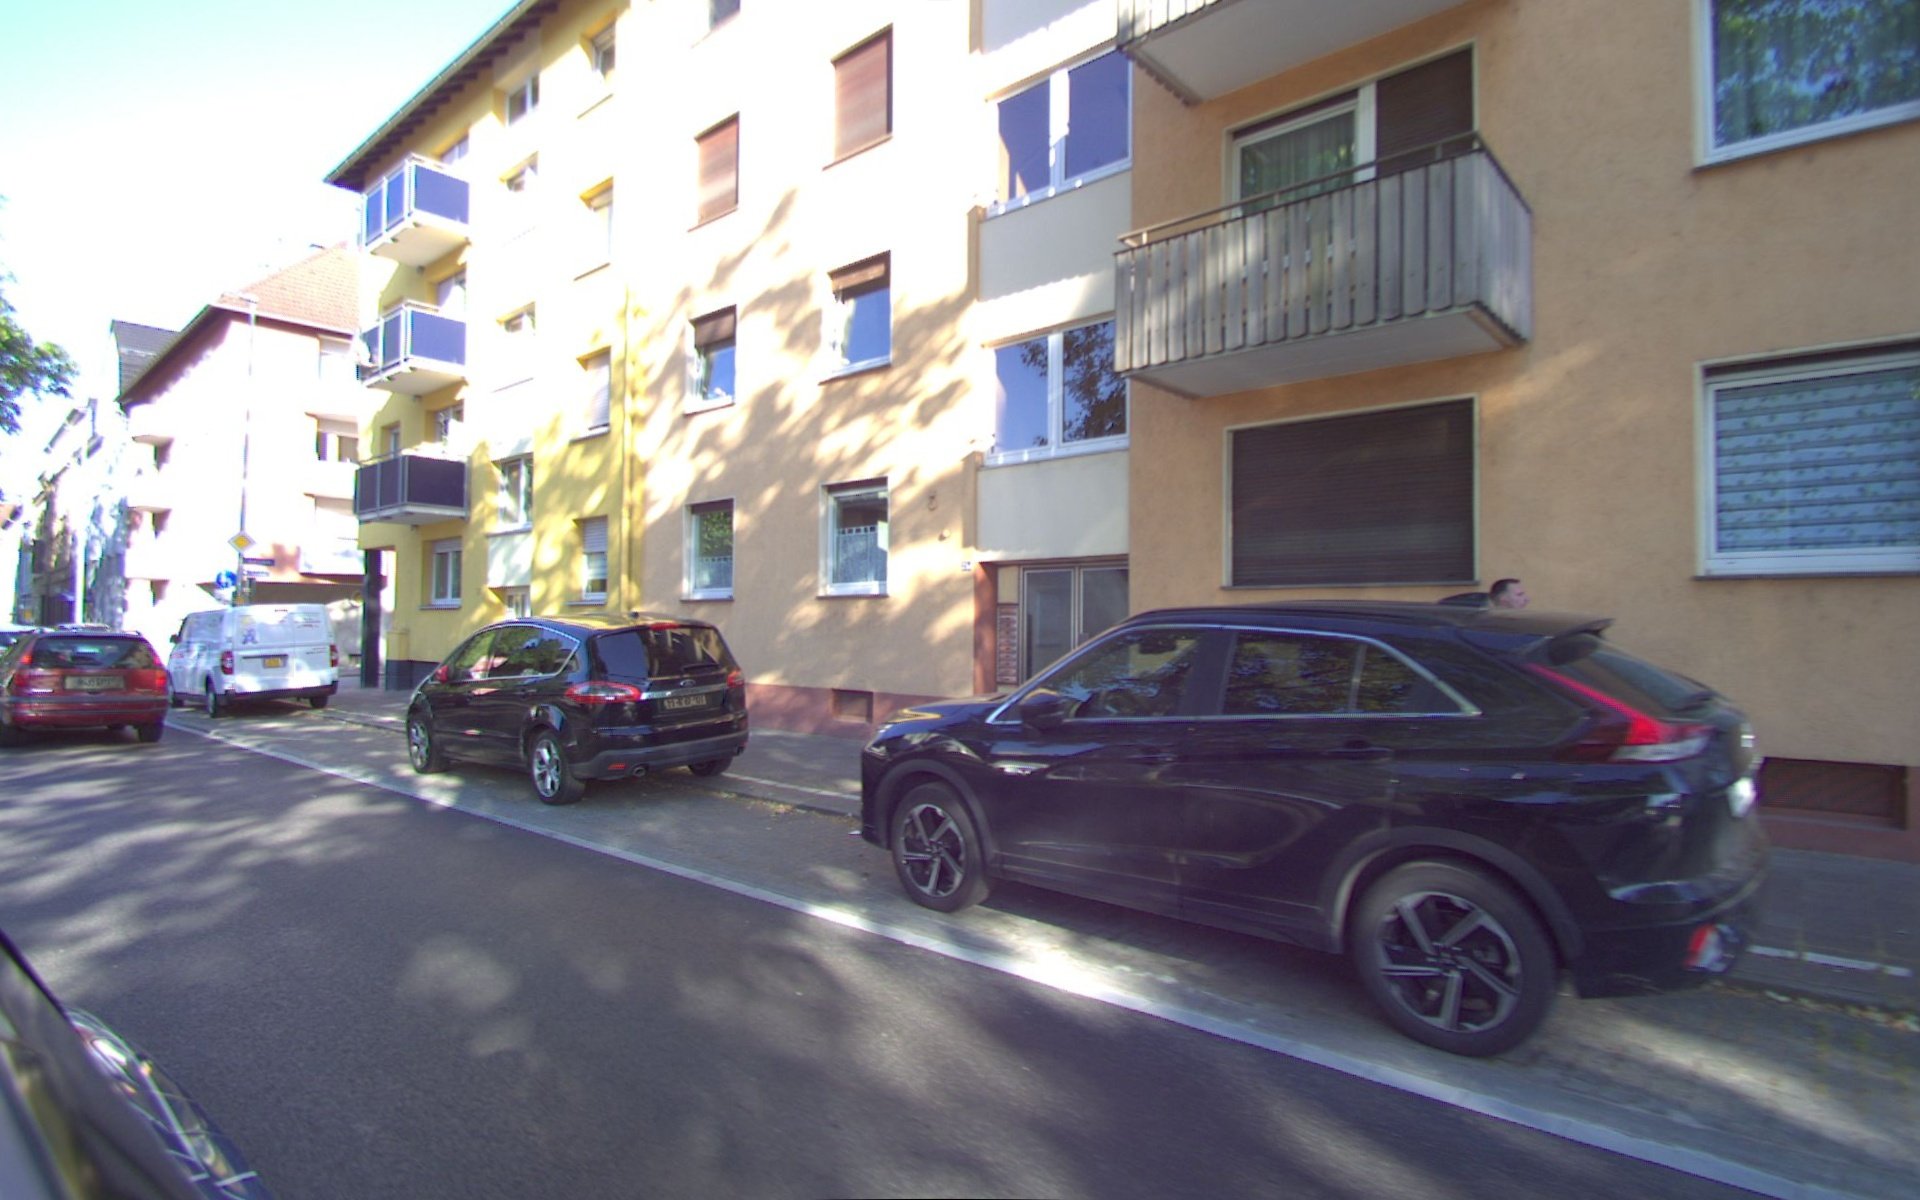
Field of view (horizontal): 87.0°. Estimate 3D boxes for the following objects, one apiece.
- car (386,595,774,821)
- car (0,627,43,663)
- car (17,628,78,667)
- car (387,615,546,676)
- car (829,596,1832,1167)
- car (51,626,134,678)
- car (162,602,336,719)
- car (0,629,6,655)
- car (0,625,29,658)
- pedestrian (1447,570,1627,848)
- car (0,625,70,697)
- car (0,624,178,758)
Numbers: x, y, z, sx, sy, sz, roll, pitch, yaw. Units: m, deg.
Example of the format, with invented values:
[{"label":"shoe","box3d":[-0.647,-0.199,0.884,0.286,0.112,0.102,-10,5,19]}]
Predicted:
[{"label":"car","box3d":[-4.001,0.909,10.217,4.547,1.801,1.727,-2,-1,41]},{"label":"car","box3d":[-45.509,2.140,48.788,3.985,1.654,1.659,-2,-1,44]},{"label":"car","box3d":[-37.949,1.934,42.062,3.602,1.497,1.659,-2,-1,44]},{"label":"car","box3d":[-17.602,1.622,36.266,1.920,2.029,4.693,-1,-3,44]},{"label":"car","box3d":[1.381,0.862,5.036,4.412,1.653,1.579,-2,-1,43]},{"label":"car","box3d":[-28.012,1.627,32.645,4.022,1.535,1.659,-2,-1,44]},{"label":"car","box3d":[-13.484,1.061,19.059,5.210,1.921,1.715,-2,-2,44]},{"label":"car","box3d":[-57.346,2.462,59.497,3.872,1.508,1.659,-2,-1,44]},{"label":"car","box3d":[-49.772,2.149,52.541,4.578,1.654,1.887,-2,-1,44]},{"label":"pedestrian","box3d":[4.039,0.703,7.083,0.933,1.782,0.758,-1,0,41]},{"label":"car","box3d":[-21.690,1.344,23.077,3.933,1.535,1.622,-2,-2,42]},{"label":"car","box3d":[-12.159,1.131,13.717,4.410,1.535,1.645,-2,-4,42]}]
